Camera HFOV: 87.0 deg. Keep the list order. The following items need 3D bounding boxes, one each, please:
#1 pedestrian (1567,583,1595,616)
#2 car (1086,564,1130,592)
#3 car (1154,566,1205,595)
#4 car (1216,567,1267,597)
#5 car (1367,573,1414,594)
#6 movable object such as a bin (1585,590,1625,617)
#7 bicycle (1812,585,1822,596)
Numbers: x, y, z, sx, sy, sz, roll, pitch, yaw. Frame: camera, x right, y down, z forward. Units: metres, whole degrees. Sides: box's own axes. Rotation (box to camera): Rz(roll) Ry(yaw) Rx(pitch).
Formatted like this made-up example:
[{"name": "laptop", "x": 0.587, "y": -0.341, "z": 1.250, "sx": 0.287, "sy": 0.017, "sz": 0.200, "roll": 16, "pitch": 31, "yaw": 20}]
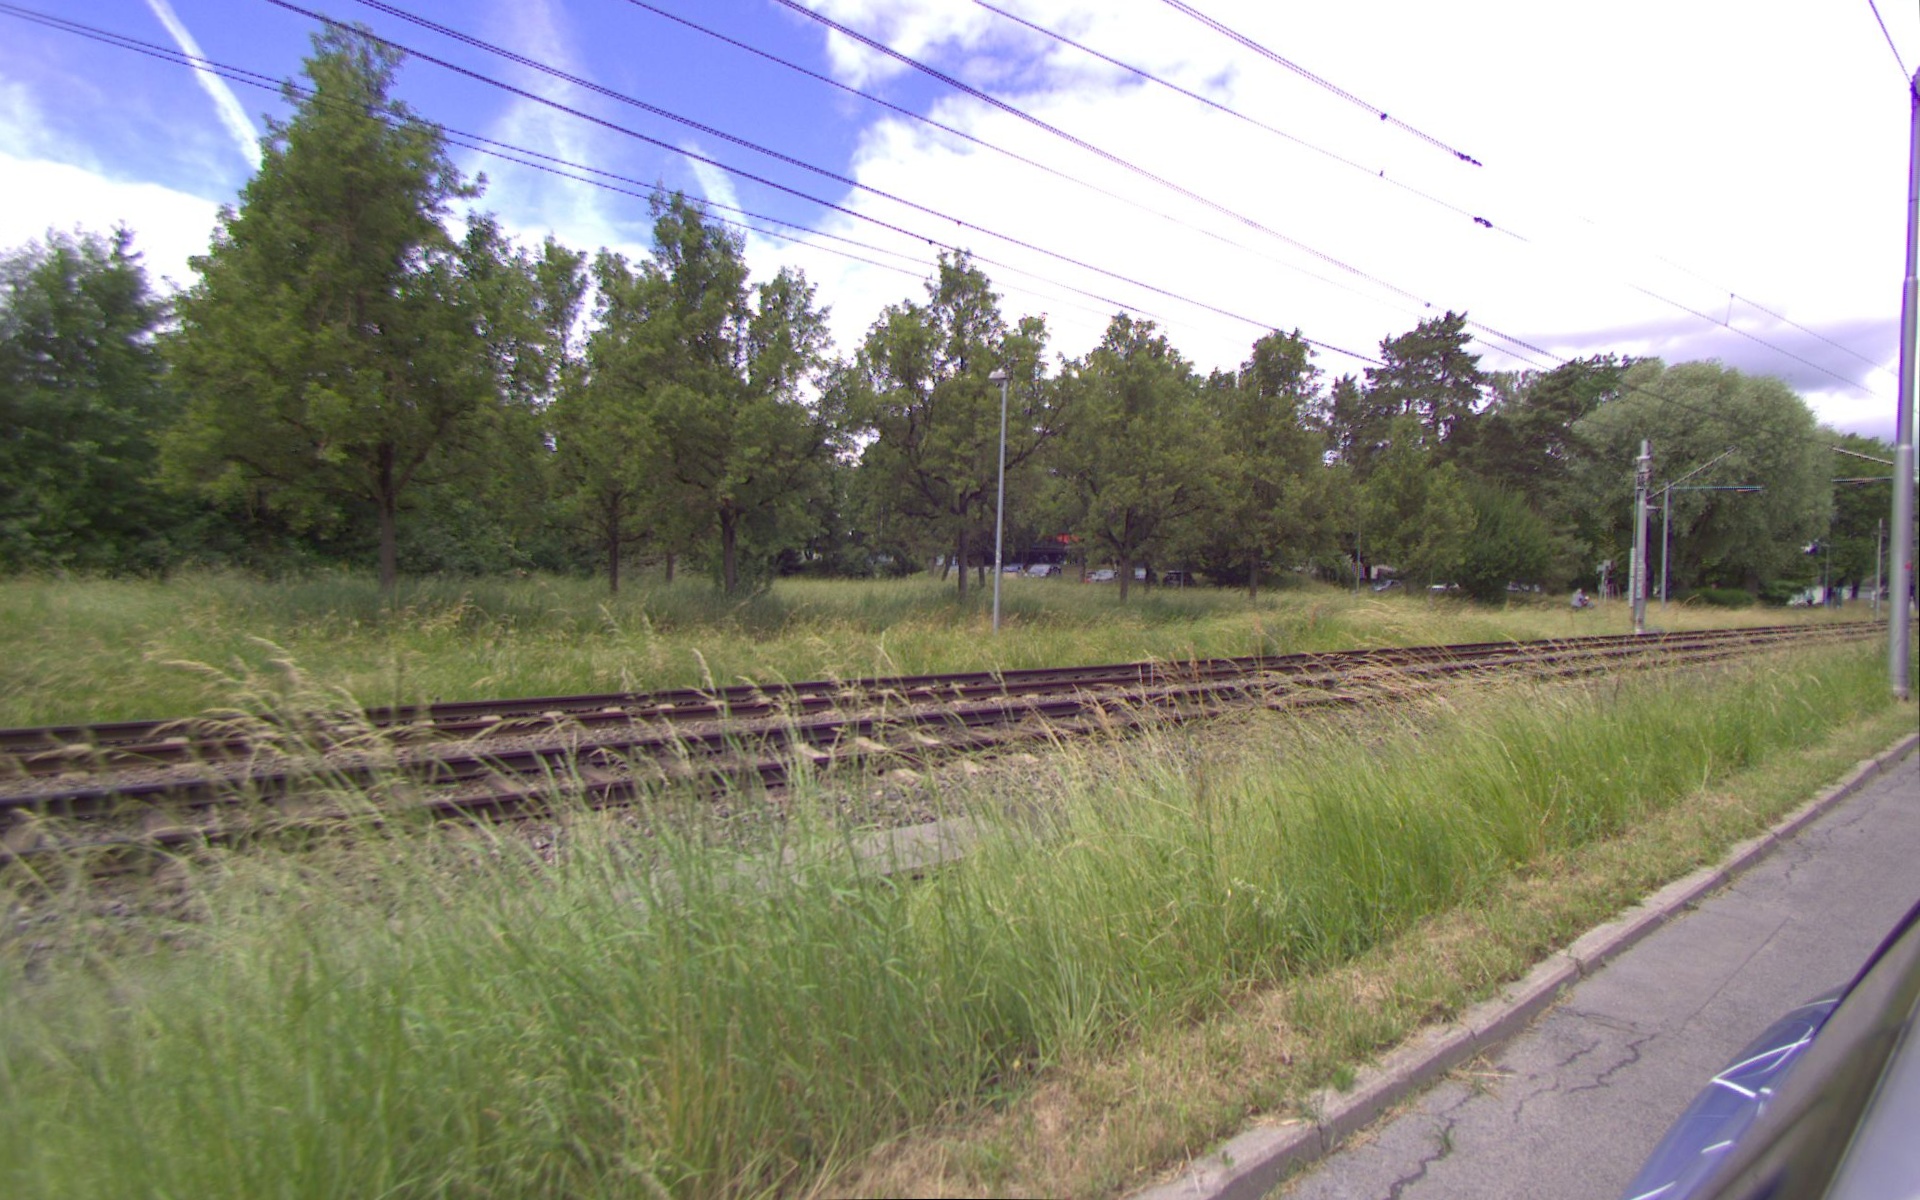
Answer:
[{"name": "pedestrian", "x": 31.982, "y": -0.039, "z": 52.133, "sx": 0.940, "sy": 1.687, "sz": 0.658, "roll": 1, "pitch": 1, "yaw": 1}, {"name": "car", "x": 10.251, "y": -1.489, "z": 69.809, "sx": 1.979, "sy": 1.834, "sz": 3.967, "roll": 2, "pitch": 1, "yaw": 24}, {"name": "car", "x": 14.387, "y": -1.261, "z": 66.178, "sx": 1.740, "sy": 1.826, "sz": 3.946, "roll": 2, "pitch": 1, "yaw": 37}, {"name": "car", "x": 17.463, "y": -1.099, "z": 62.651, "sx": 1.740, "sy": 1.826, "sz": 3.946, "roll": 2, "pitch": 1, "yaw": 37}, {"name": "car", "x": 35.770, "y": -1.369, "z": 84.022, "sx": 3.927, "sy": 1.721, "sz": 1.999, "roll": 0, "pitch": 1, "yaw": -38}, {"name": "movable object such as a bin", "x": 33.226, "y": 0.160, "z": 52.128, "sx": 1.612, "sy": 1.326, "sz": 0.660, "roll": 1, "pitch": 1, "yaw": 1}, {"name": "bicycle", "x": 93.679, "y": -1.033, "z": 110.603, "sx": 1.897, "sy": 1.261, "sz": 0.581, "roll": 0, "pitch": 2, "yaw": -44}]
